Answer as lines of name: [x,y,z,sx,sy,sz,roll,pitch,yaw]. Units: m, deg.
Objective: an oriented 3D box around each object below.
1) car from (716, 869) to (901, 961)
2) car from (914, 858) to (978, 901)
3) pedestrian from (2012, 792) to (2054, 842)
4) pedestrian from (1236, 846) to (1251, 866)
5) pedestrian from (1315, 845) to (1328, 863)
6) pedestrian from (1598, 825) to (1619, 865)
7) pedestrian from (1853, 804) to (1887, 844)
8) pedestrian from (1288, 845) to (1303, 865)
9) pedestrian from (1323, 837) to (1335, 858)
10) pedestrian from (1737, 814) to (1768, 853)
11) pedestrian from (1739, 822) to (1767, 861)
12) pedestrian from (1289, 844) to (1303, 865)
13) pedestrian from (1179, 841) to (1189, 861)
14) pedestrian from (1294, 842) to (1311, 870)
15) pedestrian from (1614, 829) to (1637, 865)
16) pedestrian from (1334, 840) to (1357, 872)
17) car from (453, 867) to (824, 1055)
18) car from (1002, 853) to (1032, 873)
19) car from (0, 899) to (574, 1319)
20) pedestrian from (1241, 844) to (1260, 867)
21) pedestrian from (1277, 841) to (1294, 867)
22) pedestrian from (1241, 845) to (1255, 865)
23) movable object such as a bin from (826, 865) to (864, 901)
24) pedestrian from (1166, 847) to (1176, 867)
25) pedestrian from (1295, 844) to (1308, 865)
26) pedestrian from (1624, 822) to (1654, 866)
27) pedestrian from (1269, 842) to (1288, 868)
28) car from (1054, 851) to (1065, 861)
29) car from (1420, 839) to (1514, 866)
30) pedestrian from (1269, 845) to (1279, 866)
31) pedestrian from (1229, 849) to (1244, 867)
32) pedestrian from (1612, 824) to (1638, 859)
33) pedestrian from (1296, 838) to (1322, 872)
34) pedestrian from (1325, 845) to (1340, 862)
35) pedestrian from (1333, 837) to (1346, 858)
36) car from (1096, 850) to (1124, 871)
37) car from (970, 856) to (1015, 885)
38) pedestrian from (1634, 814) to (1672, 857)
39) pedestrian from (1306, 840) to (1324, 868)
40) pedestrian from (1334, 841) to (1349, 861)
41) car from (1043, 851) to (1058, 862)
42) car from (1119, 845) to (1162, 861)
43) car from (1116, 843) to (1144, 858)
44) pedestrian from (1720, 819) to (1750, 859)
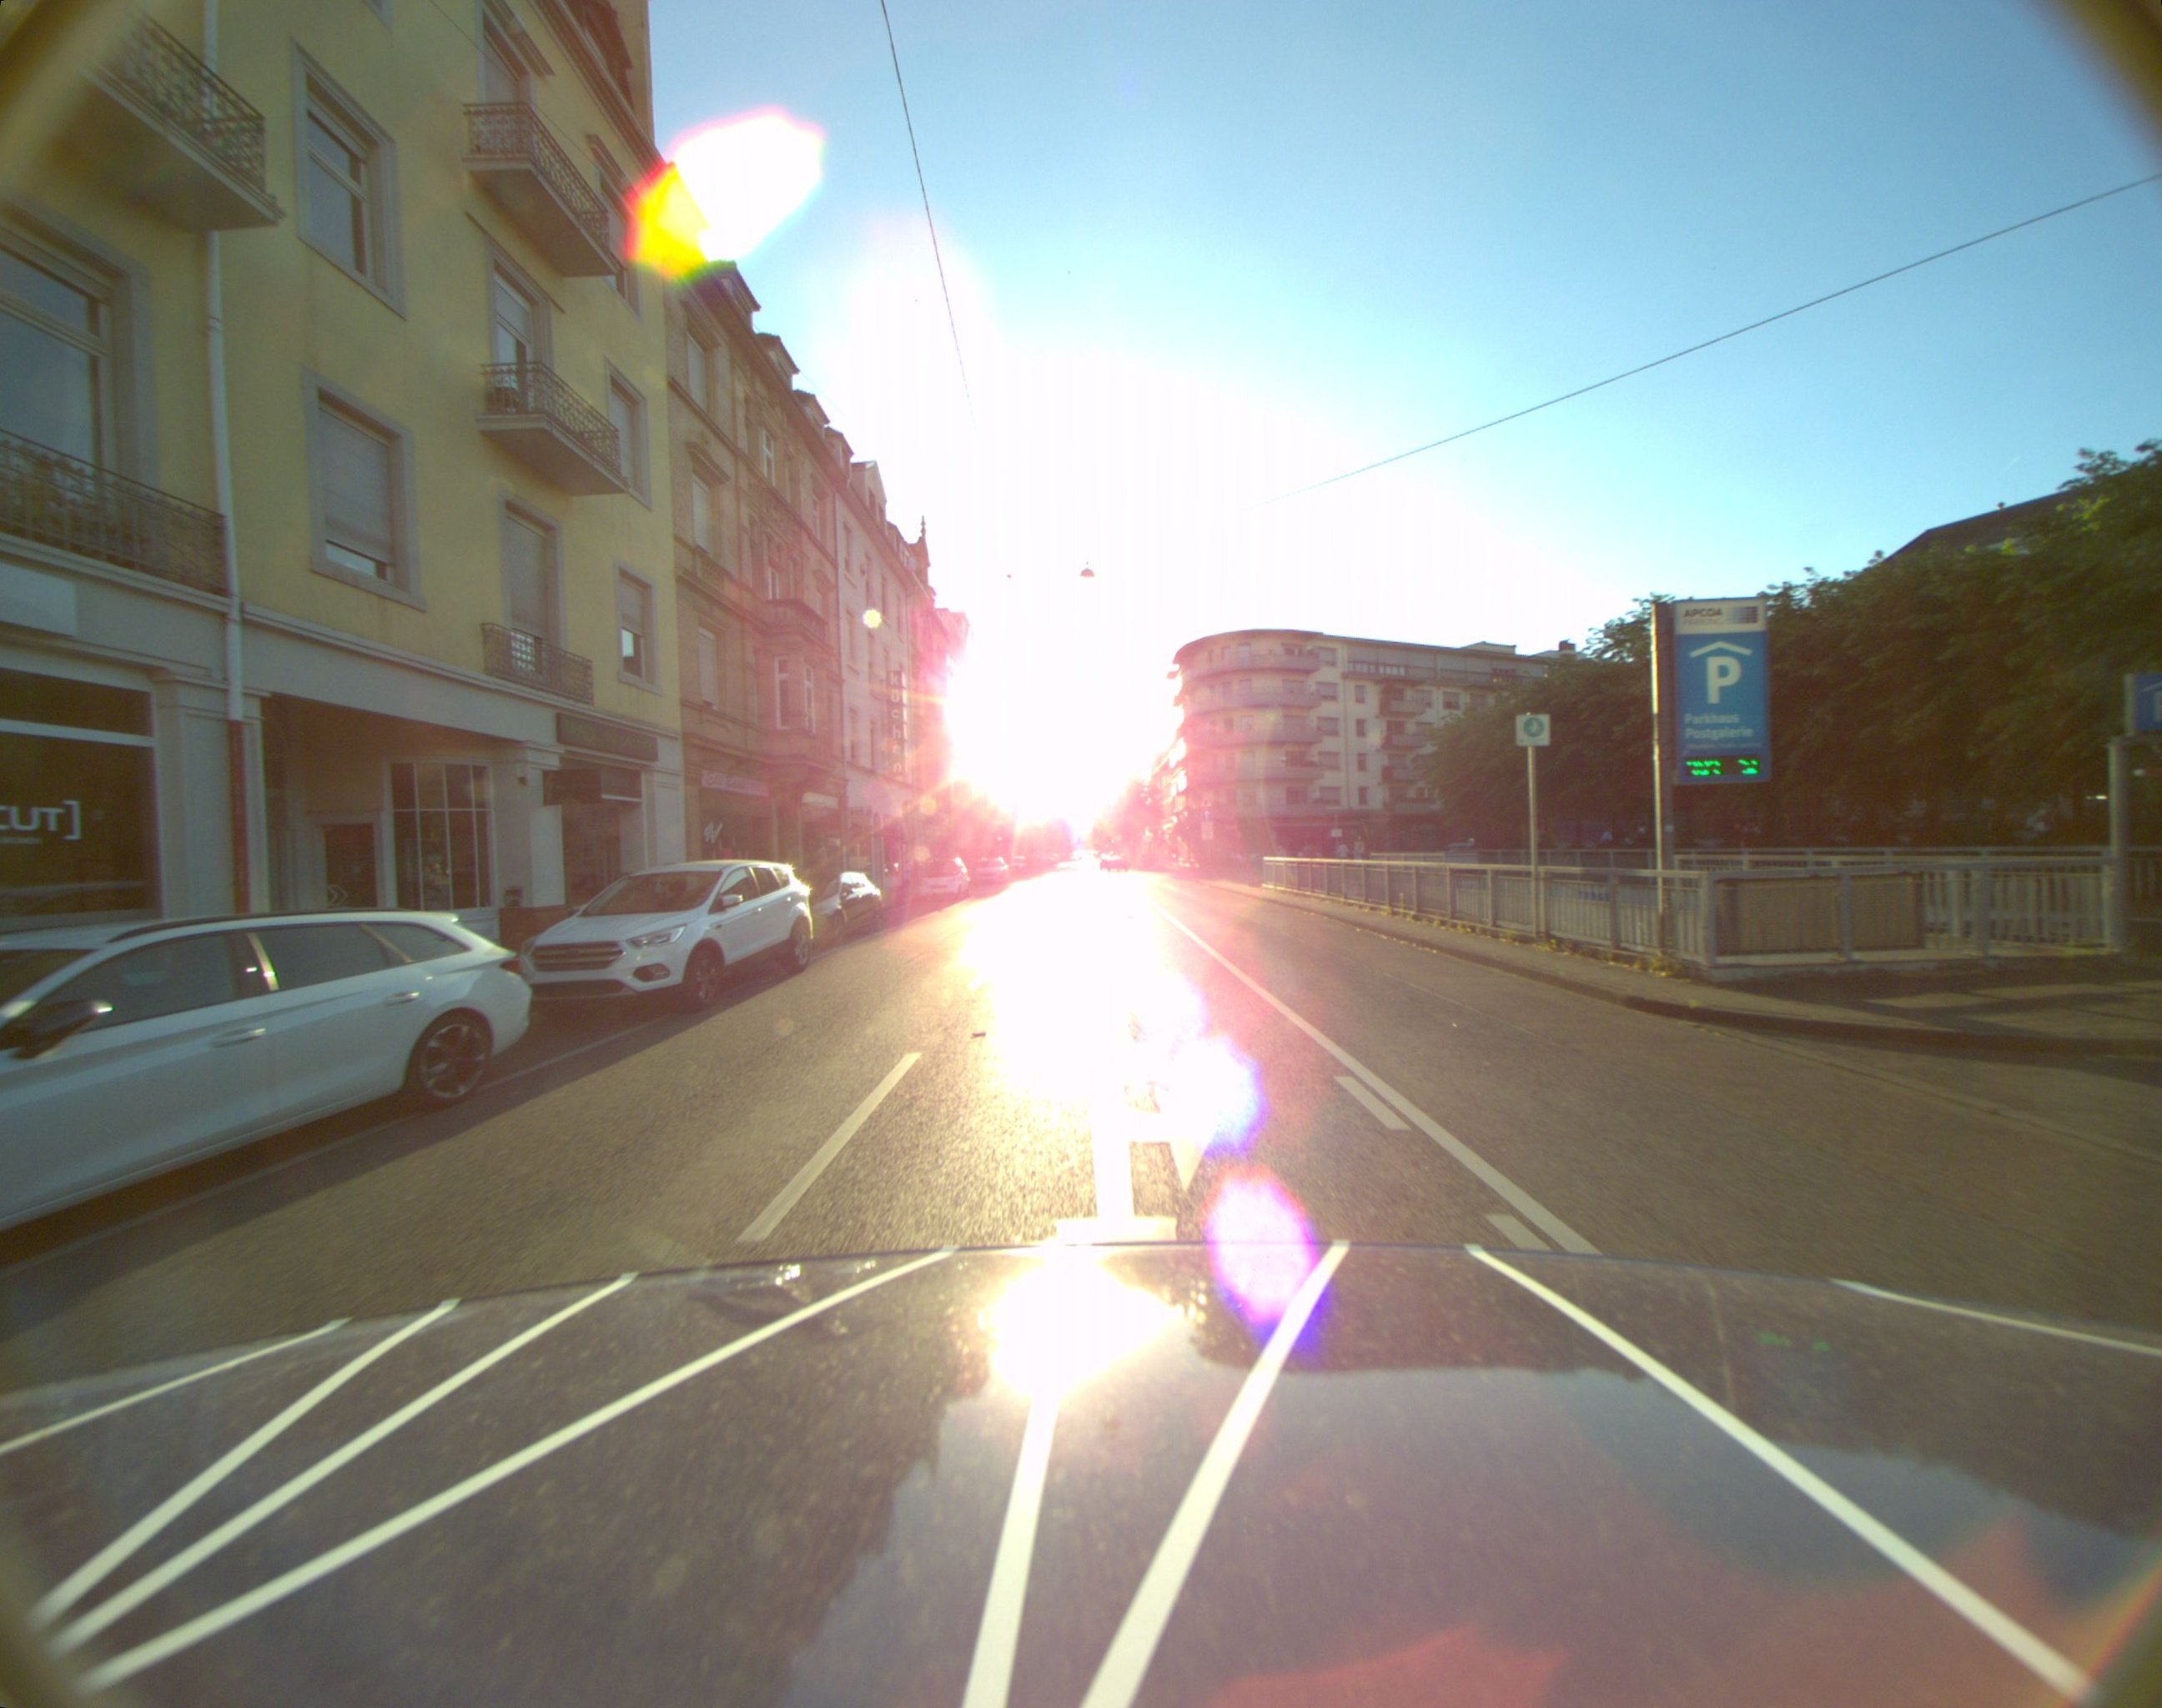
car: [-5.447,1.147,16.001,1.998,1.426,4.850,-3,0,1]
car: [-5.308,0.975,30.405,1.704,1.575,4.000,-2,-1,1]
pedestrian: [33.993,-1.313,27.133,0.922,1.716,0.701,-2,1,-24]
pedestrian: [11.966,0.145,55.979,0.768,1.374,0.841,-1,3,41]
pedestrian: [18.533,-0.017,58.545,0.750,1.337,0.654,-2,3,-26]
pedestrian: [23.481,-0.395,33.815,0.686,1.736,0.717,-3,0,38]
pedestrian: [40.712,-1.542,39.203,1.067,2.002,0.832,-3,1,-20]
pedestrian: [16.669,0.055,59.058,0.784,1.495,0.768,-2,1,-25]
pedestrian: [20.402,-0.525,62.500,0.618,1.728,0.611,-2,1,-24]
pedestrian: [26.980,-0.808,30.531,0.679,1.533,0.593,-2,0,4]
pedestrian: [30.632,-0.574,34.638,0.804,1.716,0.622,-2,1,-24]
pedestrian: [16.344,0.058,57.783,0.760,1.528,0.712,-2,5,-27]
pedestrian: [10.307,-0.308,76.184,0.730,1.937,0.804,-2,1,-5]
pedestrian: [14.562,0.127,49.897,0.712,1.792,0.884,-3,0,42]
pedestrian: [23.247,-0.285,32.460,0.714,1.477,0.605,-3,0,39]
pedestrian: [14.929,0.108,42.901,0.982,1.783,0.892,-3,0,29]
car: [-5.066,1.076,9.670,1.886,1.734,4.660,-2,-1,1]
car: [-5.200,0.692,62.054,1.998,1.511,4.000,-1,0,1]
car: [-5.347,1.150,3.944,2.020,1.534,4.870,-2,-1,2]
pedestrian: [12.665,0.121,56.746,0.690,1.526,0.714,22,-2,-8]
pedestrian: [14.145,0.013,52.626,0.737,1.783,0.811,-2,0,-21]
pedestrian: [12.689,0.064,57.790,0.712,1.527,0.855,-3,0,32]
movable object such as a bin: [-8.486,1.033,27.398,0.868,1.180,1.398,-2,1,1]
pedestrian: [8.999,0.332,76.039,0.730,1.937,0.740,-2,1,-5]
pedestrian: [16.923,0.030,58.366,0.701,1.519,0.649,-2,4,-27]
pedestrian: [24.021,-0.413,32.713,0.780,1.864,0.715,-2,0,12]
pedestrian: [13.978,0.078,53.798,0.870,1.783,0.850,-2,0,-21]
car: [-3.841,0.321,134.267,1.756,1.543,4.286,-2,0,0]
car: [22.523,-0.062,44.540,2.110,1.422,4.440,-2,-1,-29]
pedestrian: [14.800,0.117,58.325,0.647,1.527,0.753,-2,0,10]
pedestrian: [11.589,0.303,56.689,0.684,1.274,0.969,-1,3,42]
pedestrian: [28.428,-0.663,39.686,0.798,1.771,0.761,-3,1,-21]
pedestrian: [12.688,0.066,42.311,0.891,1.872,0.983,-2,0,-21]
pedestrian: [19.532,-0.066,59.040,0.852,1.298,0.878,-2,2,-3]
pedestrian: [21.375,-0.559,62.787,0.669,1.710,0.717,-2,1,-24]
car: [2.304,0.493,61.792,1.810,1.400,4.614,-2,2,-2]
car: [-5.030,0.935,43.700,1.999,1.526,4.682,-2,-1,0]
pedestrian: [24.921,-0.796,33.106,0.986,1.842,0.888,-2,0,-26]
pedestrian: [15.524,-0.002,50.495,0.854,1.865,0.713,-2,0,-40]
pedestrian: [20.803,-0.257,60.637,0.716,1.527,0.851,-2,0,-45]
car: [-4.374,0.331,109.155,1.999,1.543,3.999,-2,0,0]
car: [6.373,-0.119,82.067,4.442,1.532,1.817,-2,1,-1]
car: [7.359,-0.518,114.288,3.998,2.002,1.999,-2,1,-2]
pedestrian: [26.200,-0.590,30.451,0.797,1.572,0.732,-3,-1,38]
